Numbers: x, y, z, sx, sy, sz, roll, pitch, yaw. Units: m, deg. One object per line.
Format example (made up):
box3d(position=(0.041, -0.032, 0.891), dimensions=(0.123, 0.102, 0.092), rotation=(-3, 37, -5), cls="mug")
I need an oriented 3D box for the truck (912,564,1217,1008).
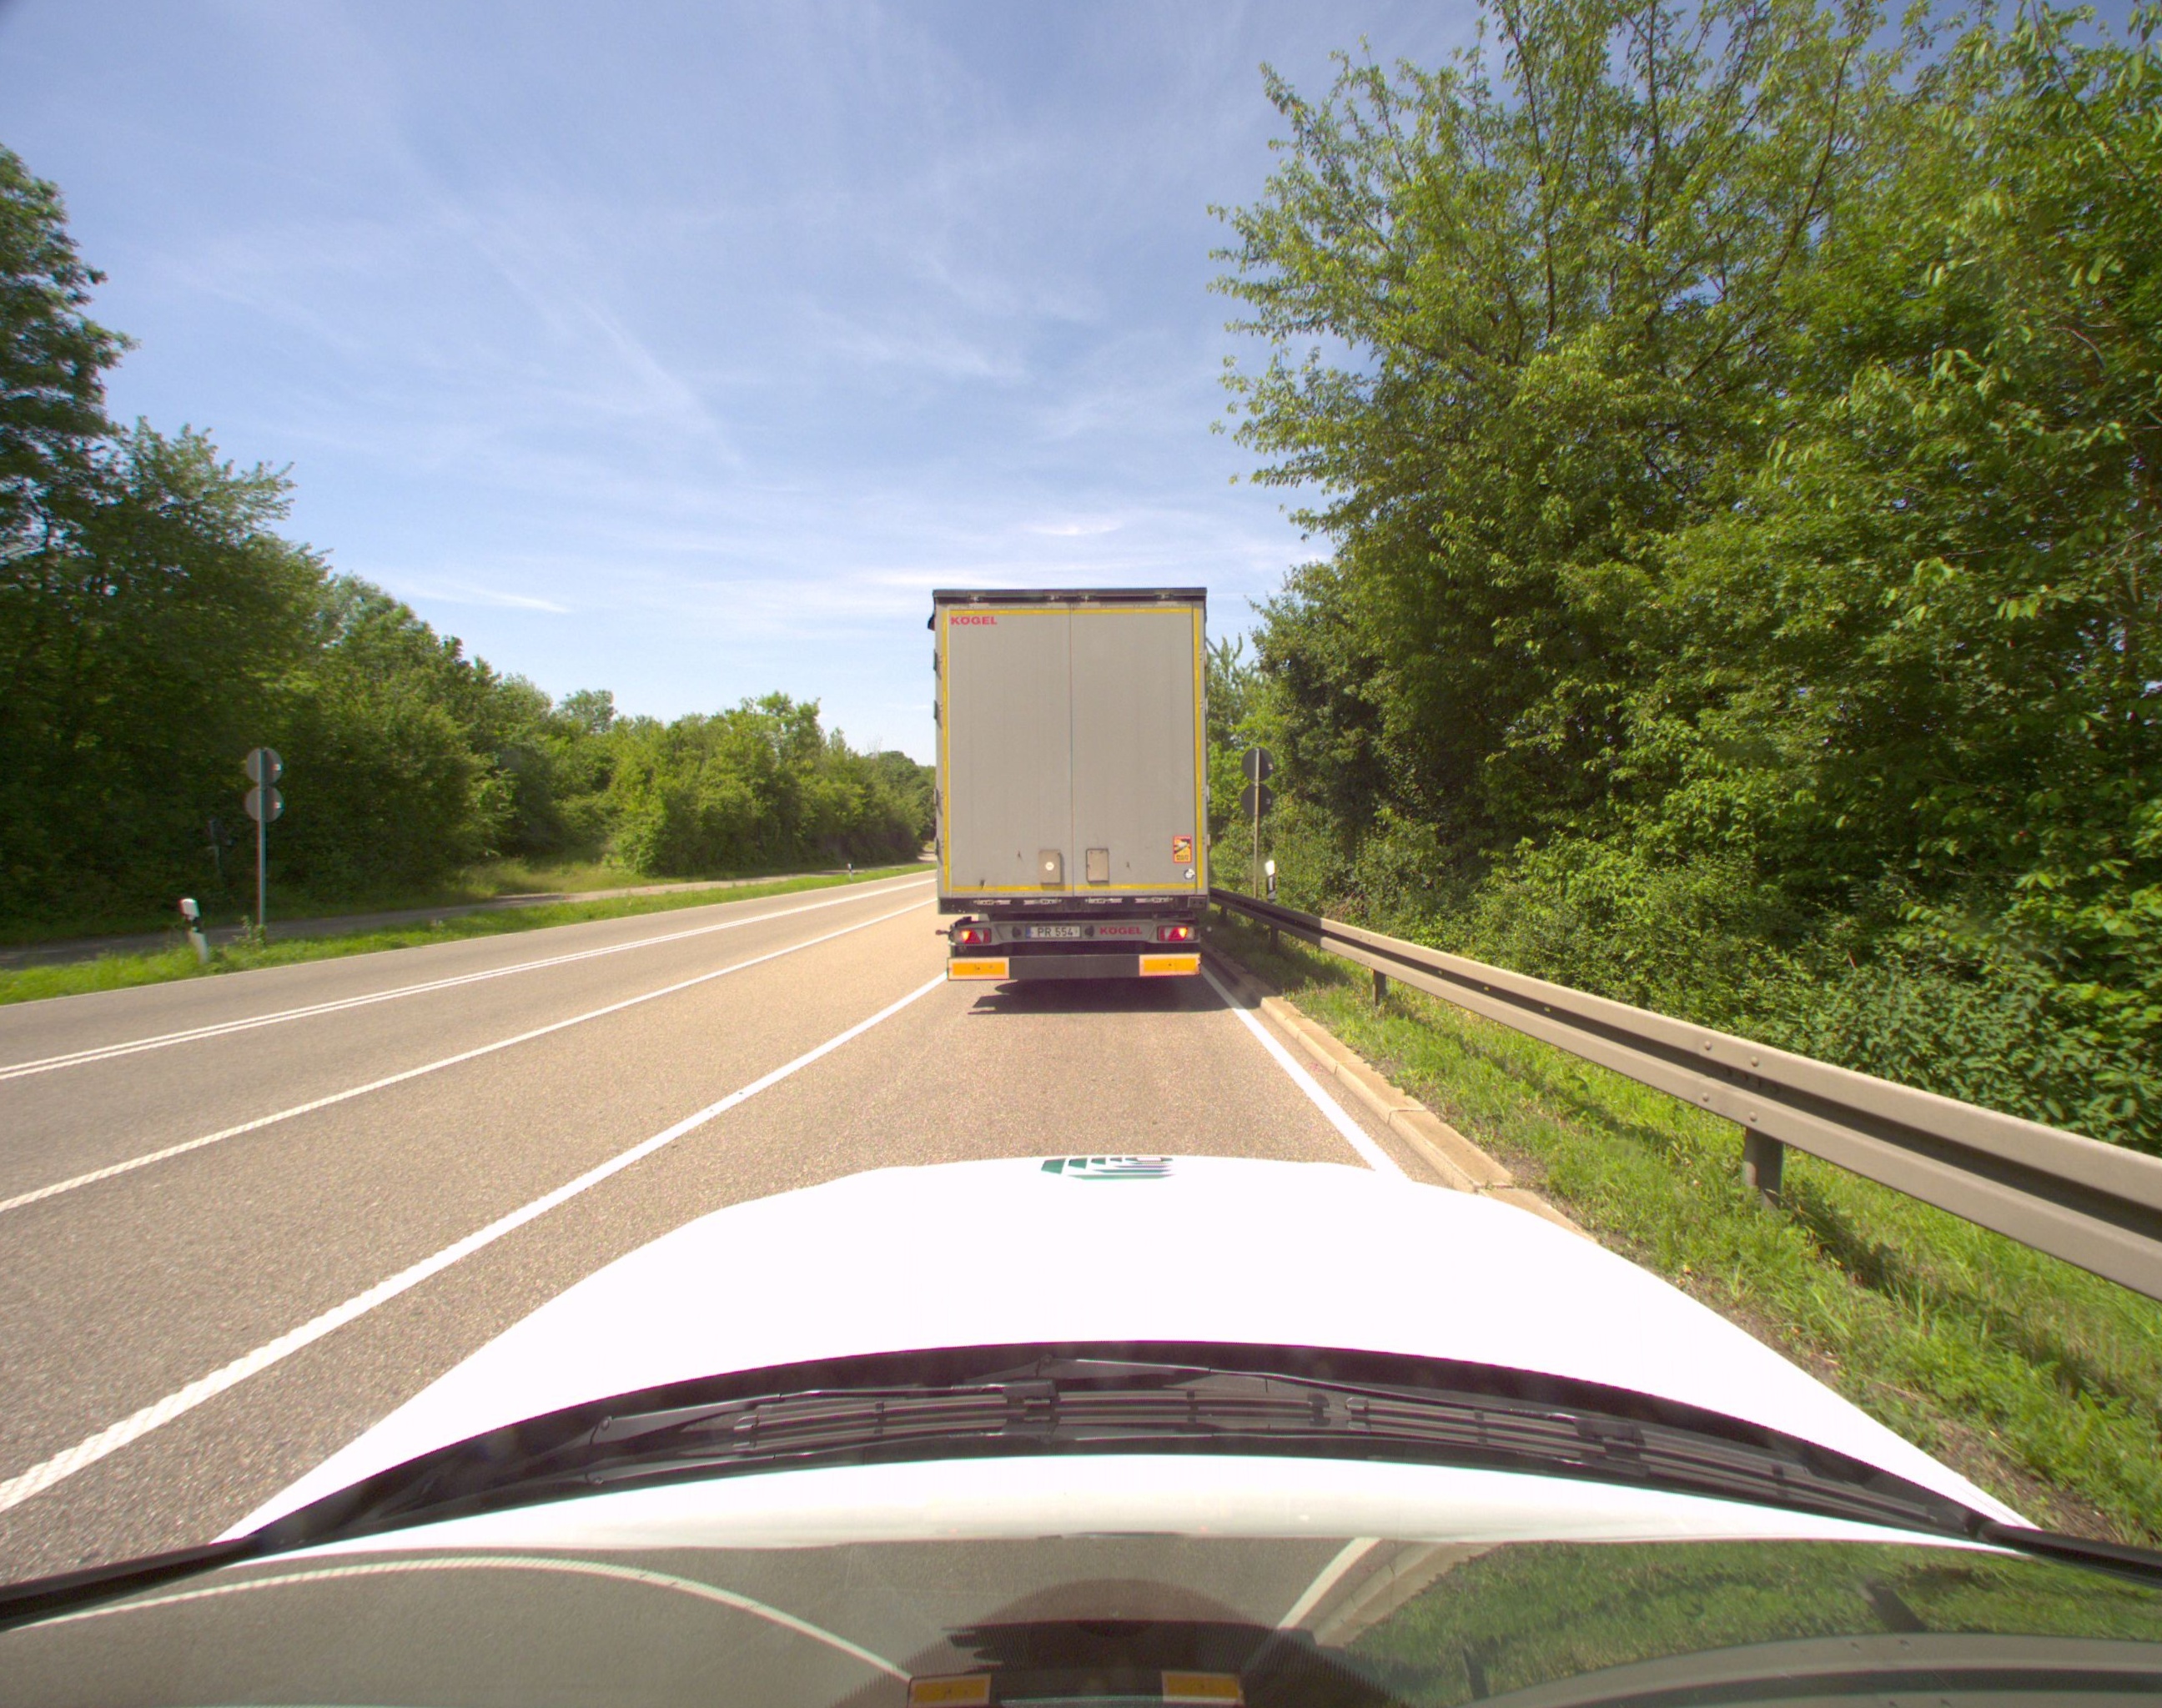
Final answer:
box3d(position=(-0.031, -0.641, 13.420), dimensions=(2.747, 4.029, 11.926), rotation=(-1, 0, 1), cls="truck")
